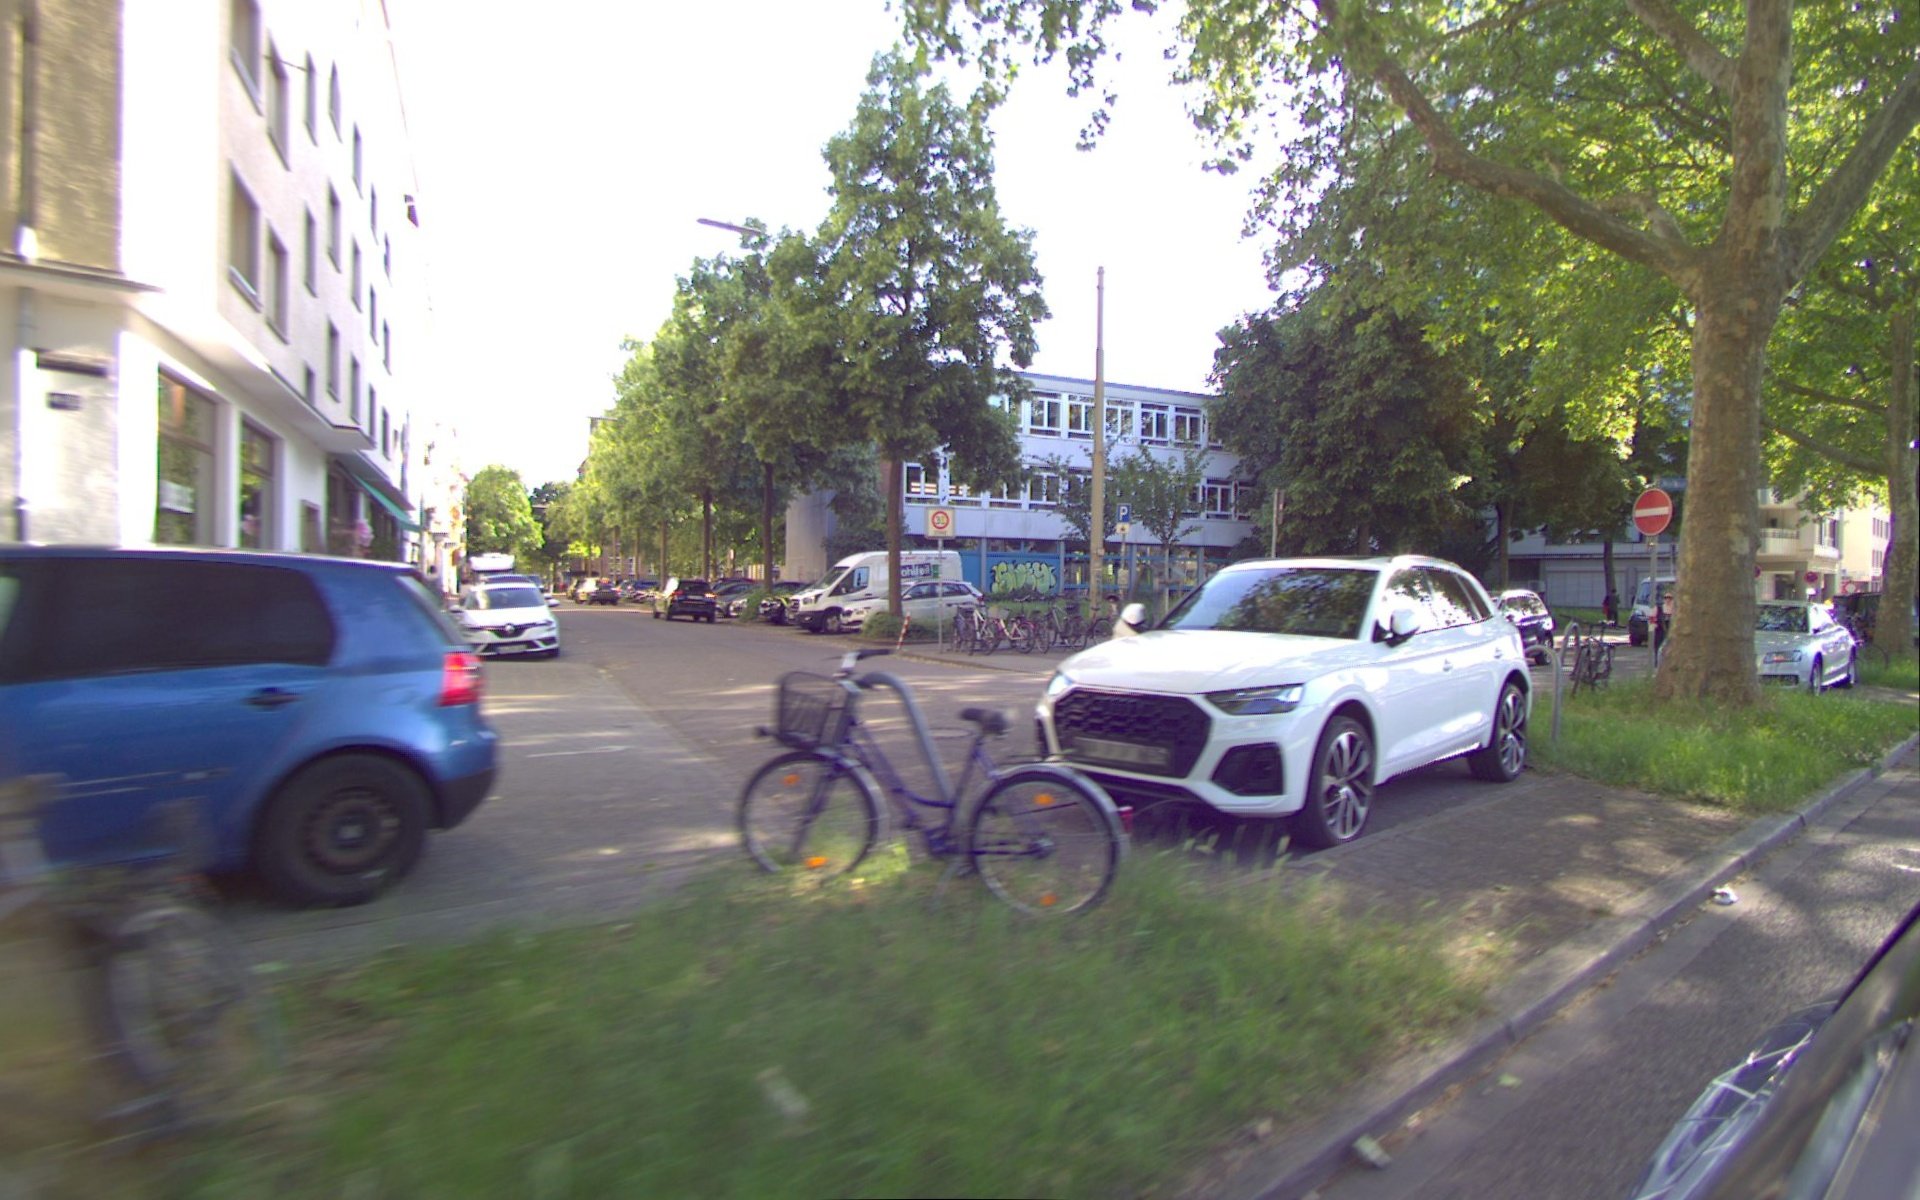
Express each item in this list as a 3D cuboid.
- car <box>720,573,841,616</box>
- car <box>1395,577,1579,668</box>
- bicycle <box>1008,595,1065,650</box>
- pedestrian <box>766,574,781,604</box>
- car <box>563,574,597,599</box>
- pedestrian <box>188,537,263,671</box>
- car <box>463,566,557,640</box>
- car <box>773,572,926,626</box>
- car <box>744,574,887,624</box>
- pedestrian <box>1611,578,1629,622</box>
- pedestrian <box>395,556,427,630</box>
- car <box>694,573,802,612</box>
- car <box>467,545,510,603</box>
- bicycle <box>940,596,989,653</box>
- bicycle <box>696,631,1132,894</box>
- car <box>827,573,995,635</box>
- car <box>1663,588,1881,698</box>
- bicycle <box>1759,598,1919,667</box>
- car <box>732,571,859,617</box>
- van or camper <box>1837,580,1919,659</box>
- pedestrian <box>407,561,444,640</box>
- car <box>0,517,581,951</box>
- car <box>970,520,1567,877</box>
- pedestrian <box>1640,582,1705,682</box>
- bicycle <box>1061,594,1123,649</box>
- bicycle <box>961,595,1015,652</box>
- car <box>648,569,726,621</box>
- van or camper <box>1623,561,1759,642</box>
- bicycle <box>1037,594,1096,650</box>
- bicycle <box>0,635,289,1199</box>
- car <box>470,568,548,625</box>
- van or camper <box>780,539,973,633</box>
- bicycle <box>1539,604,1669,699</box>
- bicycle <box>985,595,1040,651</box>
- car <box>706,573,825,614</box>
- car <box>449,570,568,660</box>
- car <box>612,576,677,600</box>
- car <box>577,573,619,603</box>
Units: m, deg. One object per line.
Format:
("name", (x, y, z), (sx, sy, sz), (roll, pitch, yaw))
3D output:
("car", (-7.097, -0.218, 40.029), (4.299, 1.648, 2.003), (0, 1, -26))
("car", (11.548, 0.409, 21.997), (5.077, 1.764, 1.823), (0, 1, -41))
("bicycle", (1.630, 0.456, 21.820), (0.497, 1.117, 2.150), (0, 1, -16))
("pedestrian", (-10.048, -0.598, 54.482), (0.622, 1.620, 0.675), (0, 0, -26))
("car", (-28.174, -1.019, 74.922), (1.958, 1.648, 4.398), (4, -1, -24))
("pedestrian", (-9.419, 0.045, 12.994), (0.709, 1.670, 0.594), (0, 0, -30))
("car", (-11.226, 0.046, 25.240), (1.958, 1.665, 4.403), (0, 1, -25))
("car", (-3.660, -0.040, 33.663), (4.647, 1.690, 2.003), (0, 1, -26))
("car", (-5.108, -0.044, 35.858), (4.647, 1.690, 2.003), (0, 1, -26))
("pedestrian", (26.611, -0.004, 40.803), (0.577, 1.717, 0.619), (1, 0, 32))
("pedestrian", (-13.861, -0.175, 25.562), (0.675, 1.832, 0.725), (0, 0, -26))
("car", (-9.368, -0.345, 44.765), (4.299, 1.648, 2.003), (0, 1, -26))
("car", (-26.095, -1.423, 56.105), (2.057, 3.023, 5.520), (0, 1, -25))
("bicycle", (0.071, 0.488, 21.373), (0.463, 1.117, 2.150), (0, 1, -16))
("bicycle", (-0.164, 0.627, 4.287), (1.734, 0.939, 0.652), (1, 0, 9))
("car", (-1.376, 0.088, 28.528), (4.299, 1.648, 2.003), (0, 1, -26))
("car", (12.428, 0.543, 15.356), (4.938, 1.416, 1.756), (0, 1, -41))
("bicycle", (15.604, 0.540, 18.015), (0.665, 1.138, 2.073), (0, 1, -41))
("car", (-6.196, -0.225, 38.137), (4.299, 1.648, 2.003), (0, 1, -26))
("van or camper", (20.366, 0.392, 22.015), (1.494, 1.608, 2.807), (1, 1, 32))
("pedestrian", (-11.502, 0.002, 21.814), (0.675, 1.670, 0.725), (0, 0, -26))
("car", (-3.911, 0.435, 3.983), (4.186, 1.470, 1.717), (1, 0, -41))
("car", (2.423, 0.437, 7.042), (4.744, 1.656, 1.905), (0, 1, -44))
("pedestrian", (11.937, 0.535, 16.958), (0.700, 1.632, 0.688), (1, -3, -41))
("bicycle", (2.877, 0.438, 22.278), (0.497, 1.117, 2.201), (0, 1, -16))
("bicycle", (0.567, 0.472, 21.508), (0.497, 1.117, 2.150), (0, 1, -16))
("car", (-9.965, -0.209, 36.715), (1.958, 1.648, 4.398), (4, -1, -24))
("van or camper", (23.136, 0.017, 31.936), (5.722, 2.315, 2.294), (0, 1, -41))
("bicycle", (2.297, 0.449, 22.050), (0.497, 1.117, 2.150), (0, 1, -16))
("bicycle", (-1.616, 0.647, 2.065), (0.396, 1.072, 1.599), (0, 1, -33))
("car", (-13.359, -0.126, 29.960), (1.958, 1.556, 4.403), (0, 1, -25))
("van or camper", (-2.534, -0.405, 30.929), (5.472, 2.669, 2.158), (0, 1, -25))
("bicycle", (7.185, 0.528, 11.246), (2.127, 0.937, 0.640), (0, 1, -41))
("bicycle", (1.097, 0.467, 21.659), (0.497, 1.117, 2.150), (0, 1, -16))
("car", (-8.146, -0.273, 42.418), (4.558, 1.648, 2.003), (0, 1, -26))
("car", (-9.181, 0.237, 20.524), (1.959, 1.600, 4.609), (0, 1, -25))
("car", (-22.916, -0.861, 73.503), (4.299, 1.648, 2.003), (0, 1, -26))
("car", (-22.130, -0.764, 61.814), (1.958, 1.648, 4.398), (4, -1, -24))
